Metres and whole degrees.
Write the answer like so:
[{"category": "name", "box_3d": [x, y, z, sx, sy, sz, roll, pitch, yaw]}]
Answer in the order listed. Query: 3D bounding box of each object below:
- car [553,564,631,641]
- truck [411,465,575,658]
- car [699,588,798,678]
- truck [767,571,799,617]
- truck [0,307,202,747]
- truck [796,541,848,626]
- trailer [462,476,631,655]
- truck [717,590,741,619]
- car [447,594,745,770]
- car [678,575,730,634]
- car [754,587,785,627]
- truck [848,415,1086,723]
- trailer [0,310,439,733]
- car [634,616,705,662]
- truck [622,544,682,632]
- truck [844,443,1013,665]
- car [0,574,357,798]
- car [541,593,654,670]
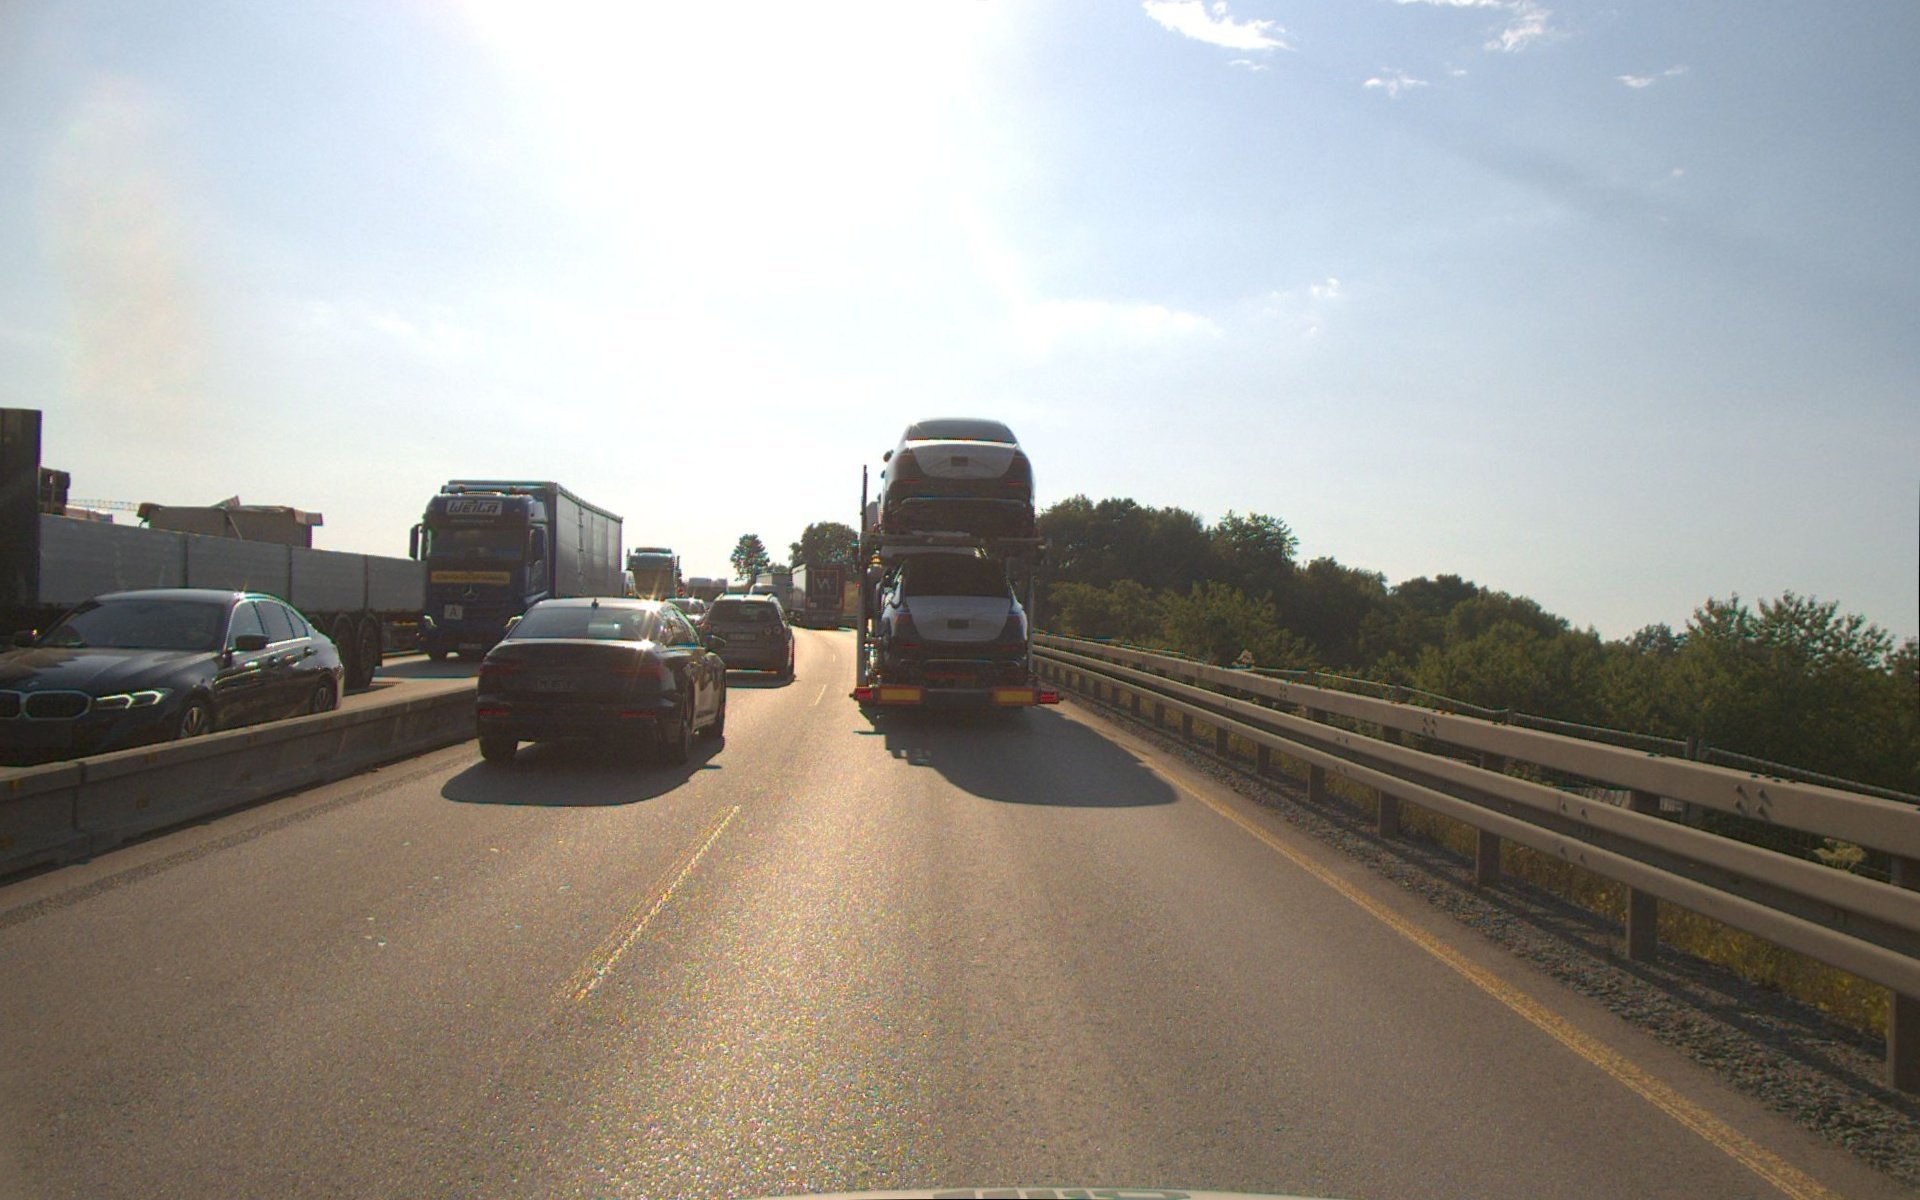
[{"category": "car", "box_3d": [-13.111, 0.085, 59.222, 2.116, 2.602, 5.581, 1, 0, -6]}, {"category": "truck", "box_3d": [-10.704, -0.808, 38.459, 2.453, 4.137, 5.661, 1, 0, -4]}, {"category": "car", "box_3d": [-4.071, 0.618, 32.364, 1.658, 1.624, 3.997, 1, 0, -4]}, {"category": "truck", "box_3d": [-14.937, -0.445, 140.082, 2.481, 3.712, 8.895, 1, 0, -5]}, {"category": "truck", "box_3d": [-9.640, -0.642, 15.141, 2.549, 3.820, 6.514, 1, 0, -2]}, {"category": "truck", "box_3d": [-9.218, -1.004, 109.990, 3.222, 5.328, 9.925, 1, 0, -5]}, {"category": "trailer", "box_3d": [-11.197, -0.777, 46.286, 2.262, 4.203, 14.585, 1, 0, -5]}, {"category": "truck", "box_3d": [-26.352, 0.509, 188.843, 2.541, 3.226, 6.667, 1, 0, -7]}, {"category": "car", "box_3d": [-3.338, 0.675, 16.196, 1.895, 1.423, 4.960, 1, 0, -1]}, {"category": "car", "box_3d": [-11.692, 0.206, 75.874, 2.017, 2.544, 6.766, 1, 0, -6]}, {"category": "car", "box_3d": [-12.549, 0.465, 109.204, 1.883, 2.536, 5.403, 1, 0, -5]}, {"category": "truck", "box_3d": [-0.223, -0.323, 24.600, 2.743, 3.558, 10.597, 1, 0, -3]}, {"category": "trailer", "box_3d": [-9.933, -0.682, 21.739, 2.469, 3.790, 13.968, 1, 0, -3]}, {"category": "car", "box_3d": [-9.490, 1.238, 54.405, 1.724, 1.402, 4.764, 1, 0, -3]}, {"category": "truck", "box_3d": [-15.079, -0.557, 81.342, 2.455, 4.137, 5.875, 1, 0, -7]}, {"category": "truck", "box_3d": [-0.896, -0.773, 34.045, 2.782, 3.858, 9.976, 1, 0, -5]}, {"category": "car", "box_3d": [-6.630, 0.600, 13.678, 1.757, 1.538, 4.583, 1, 0, -3]}, {"category": "car", "box_3d": [-7.699, 0.639, 35.453, 1.724, 1.534, 4.251, 1, 0, -4]}]
